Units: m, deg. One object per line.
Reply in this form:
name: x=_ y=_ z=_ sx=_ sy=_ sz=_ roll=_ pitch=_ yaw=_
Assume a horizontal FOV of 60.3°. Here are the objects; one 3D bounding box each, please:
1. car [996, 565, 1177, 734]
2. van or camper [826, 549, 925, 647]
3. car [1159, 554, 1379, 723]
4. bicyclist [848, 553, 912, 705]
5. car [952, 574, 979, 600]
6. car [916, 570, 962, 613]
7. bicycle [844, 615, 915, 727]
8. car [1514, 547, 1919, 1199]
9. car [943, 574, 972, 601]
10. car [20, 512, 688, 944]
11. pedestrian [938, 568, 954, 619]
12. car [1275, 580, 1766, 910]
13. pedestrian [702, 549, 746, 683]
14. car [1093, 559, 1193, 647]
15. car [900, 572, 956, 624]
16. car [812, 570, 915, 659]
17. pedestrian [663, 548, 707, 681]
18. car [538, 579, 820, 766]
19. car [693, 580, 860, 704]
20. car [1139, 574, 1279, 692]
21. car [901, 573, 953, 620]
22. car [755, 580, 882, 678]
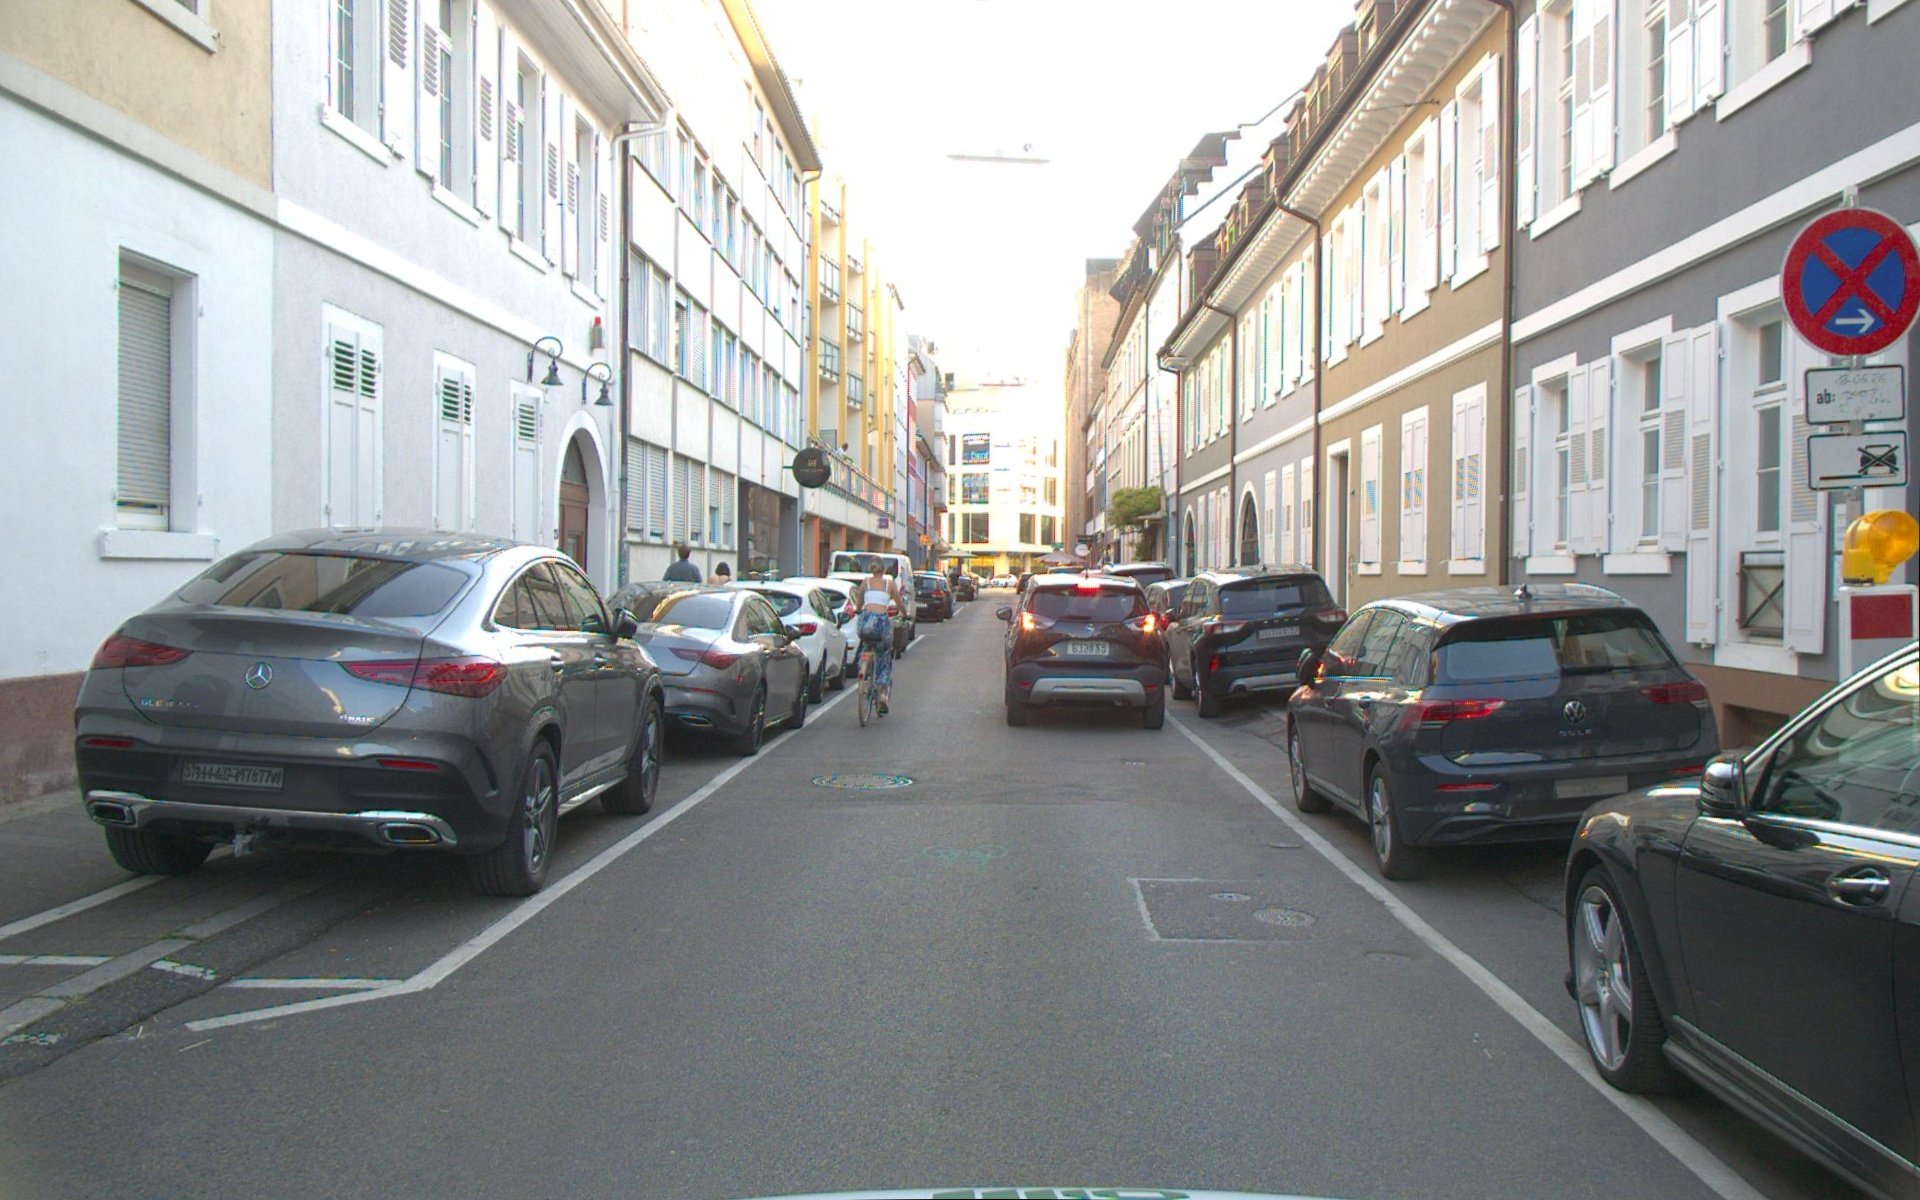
car: x=1.316 y=0.468 z=18.652 sx=1.782 sy=1.646 sz=4.001 roll=2 pitch=1 yaw=1
van or camper: x=-1.857 y=-0.071 z=37.754 sx=1.806 sy=2.048 sz=4.679 roll=2 pitch=1 yaw=2
car: x=3.589 y=0.384 z=19.952 sx=1.878 sy=1.768 sz=4.154 roll=2 pitch=1 yaw=1
bicyclist: x=-0.861 y=0.304 z=17.839 sx=0.608 sy=1.602 sz=0.684 roll=1 pitch=0 yaw=2
car: x=0.362 y=-0.836 z=106.561 sx=1.619 sy=1.588 sz=3.607 roll=2 pitch=1 yaw=2
car: x=-0.812 y=-0.354 z=65.422 sx=1.619 sy=1.588 sz=3.607 roll=2 pitch=1 yaw=2
bicycle: x=-0.854 y=0.734 z=17.903 sx=0.601 sy=1.101 sz=1.810 roll=1 pitch=1 yaw=2
car: x=2.747 y=0.650 z=3.252 sx=1.781 sy=1.556 sz=5.073 roll=-3 pitch=0 yaw=3
car: x=-0.141 y=-0.760 z=99.800 sx=1.619 sy=1.588 sz=3.607 roll=2 pitch=1 yaw=2
car: x=-2.889 y=0.498 z=9.132 sx=1.957 sy=1.737 sz=4.536 roll=2 pitch=1 yaw=0
pedestrian: x=-0.508 y=-0.226 z=58.362 sx=0.542 sy=1.782 sz=0.568 roll=1 pitch=0 yaw=-1
car: x=3.042 y=0.663 z=9.862 sx=1.641 sy=1.512 sz=4.001 roll=2 pitch=1 yaw=2
pedestrian: x=-3.635 y=0.239 z=25.515 sx=0.597 sy=2.049 sz=0.450 roll=1 pitch=0 yaw=-1
car: x=3.519 y=0.030 z=32.301 sx=1.619 sy=1.588 sz=3.607 roll=2 pitch=1 yaw=2
car: x=-1.025 y=-0.092 z=54.424 sx=1.619 sy=1.588 sz=3.607 roll=2 pitch=1 yaw=2
car: x=-1.801 y=0.238 z=31.904 sx=1.619 sy=1.588 sz=3.607 roll=2 pitch=1 yaw=2
pedestrian: x=-4.281 y=0.227 z=25.769 sx=0.597 sy=2.049 sz=0.450 roll=1 pitch=0 yaw=-1
car: x=-2.460 y=0.562 z=15.563 sx=1.879 sy=1.459 sz=4.294 roll=2 pitch=1 yaw=0
car: x=-2.325 y=0.479 z=21.843 sx=1.619 sy=1.435 sz=3.903 roll=2 pitch=1 yaw=2
car: x=3.646 y=0.433 z=24.706 sx=1.619 sy=1.588 sz=3.607 roll=2 pitch=1 yaw=2
car: x=-1.166 y=-0.141 z=59.736 sx=1.619 sy=1.588 sz=3.607 roll=2 pitch=1 yaw=2
car: x=-2.233 y=0.414 z=26.935 sx=1.619 sy=1.435 sz=3.607 roll=2 pitch=1 yaw=2
